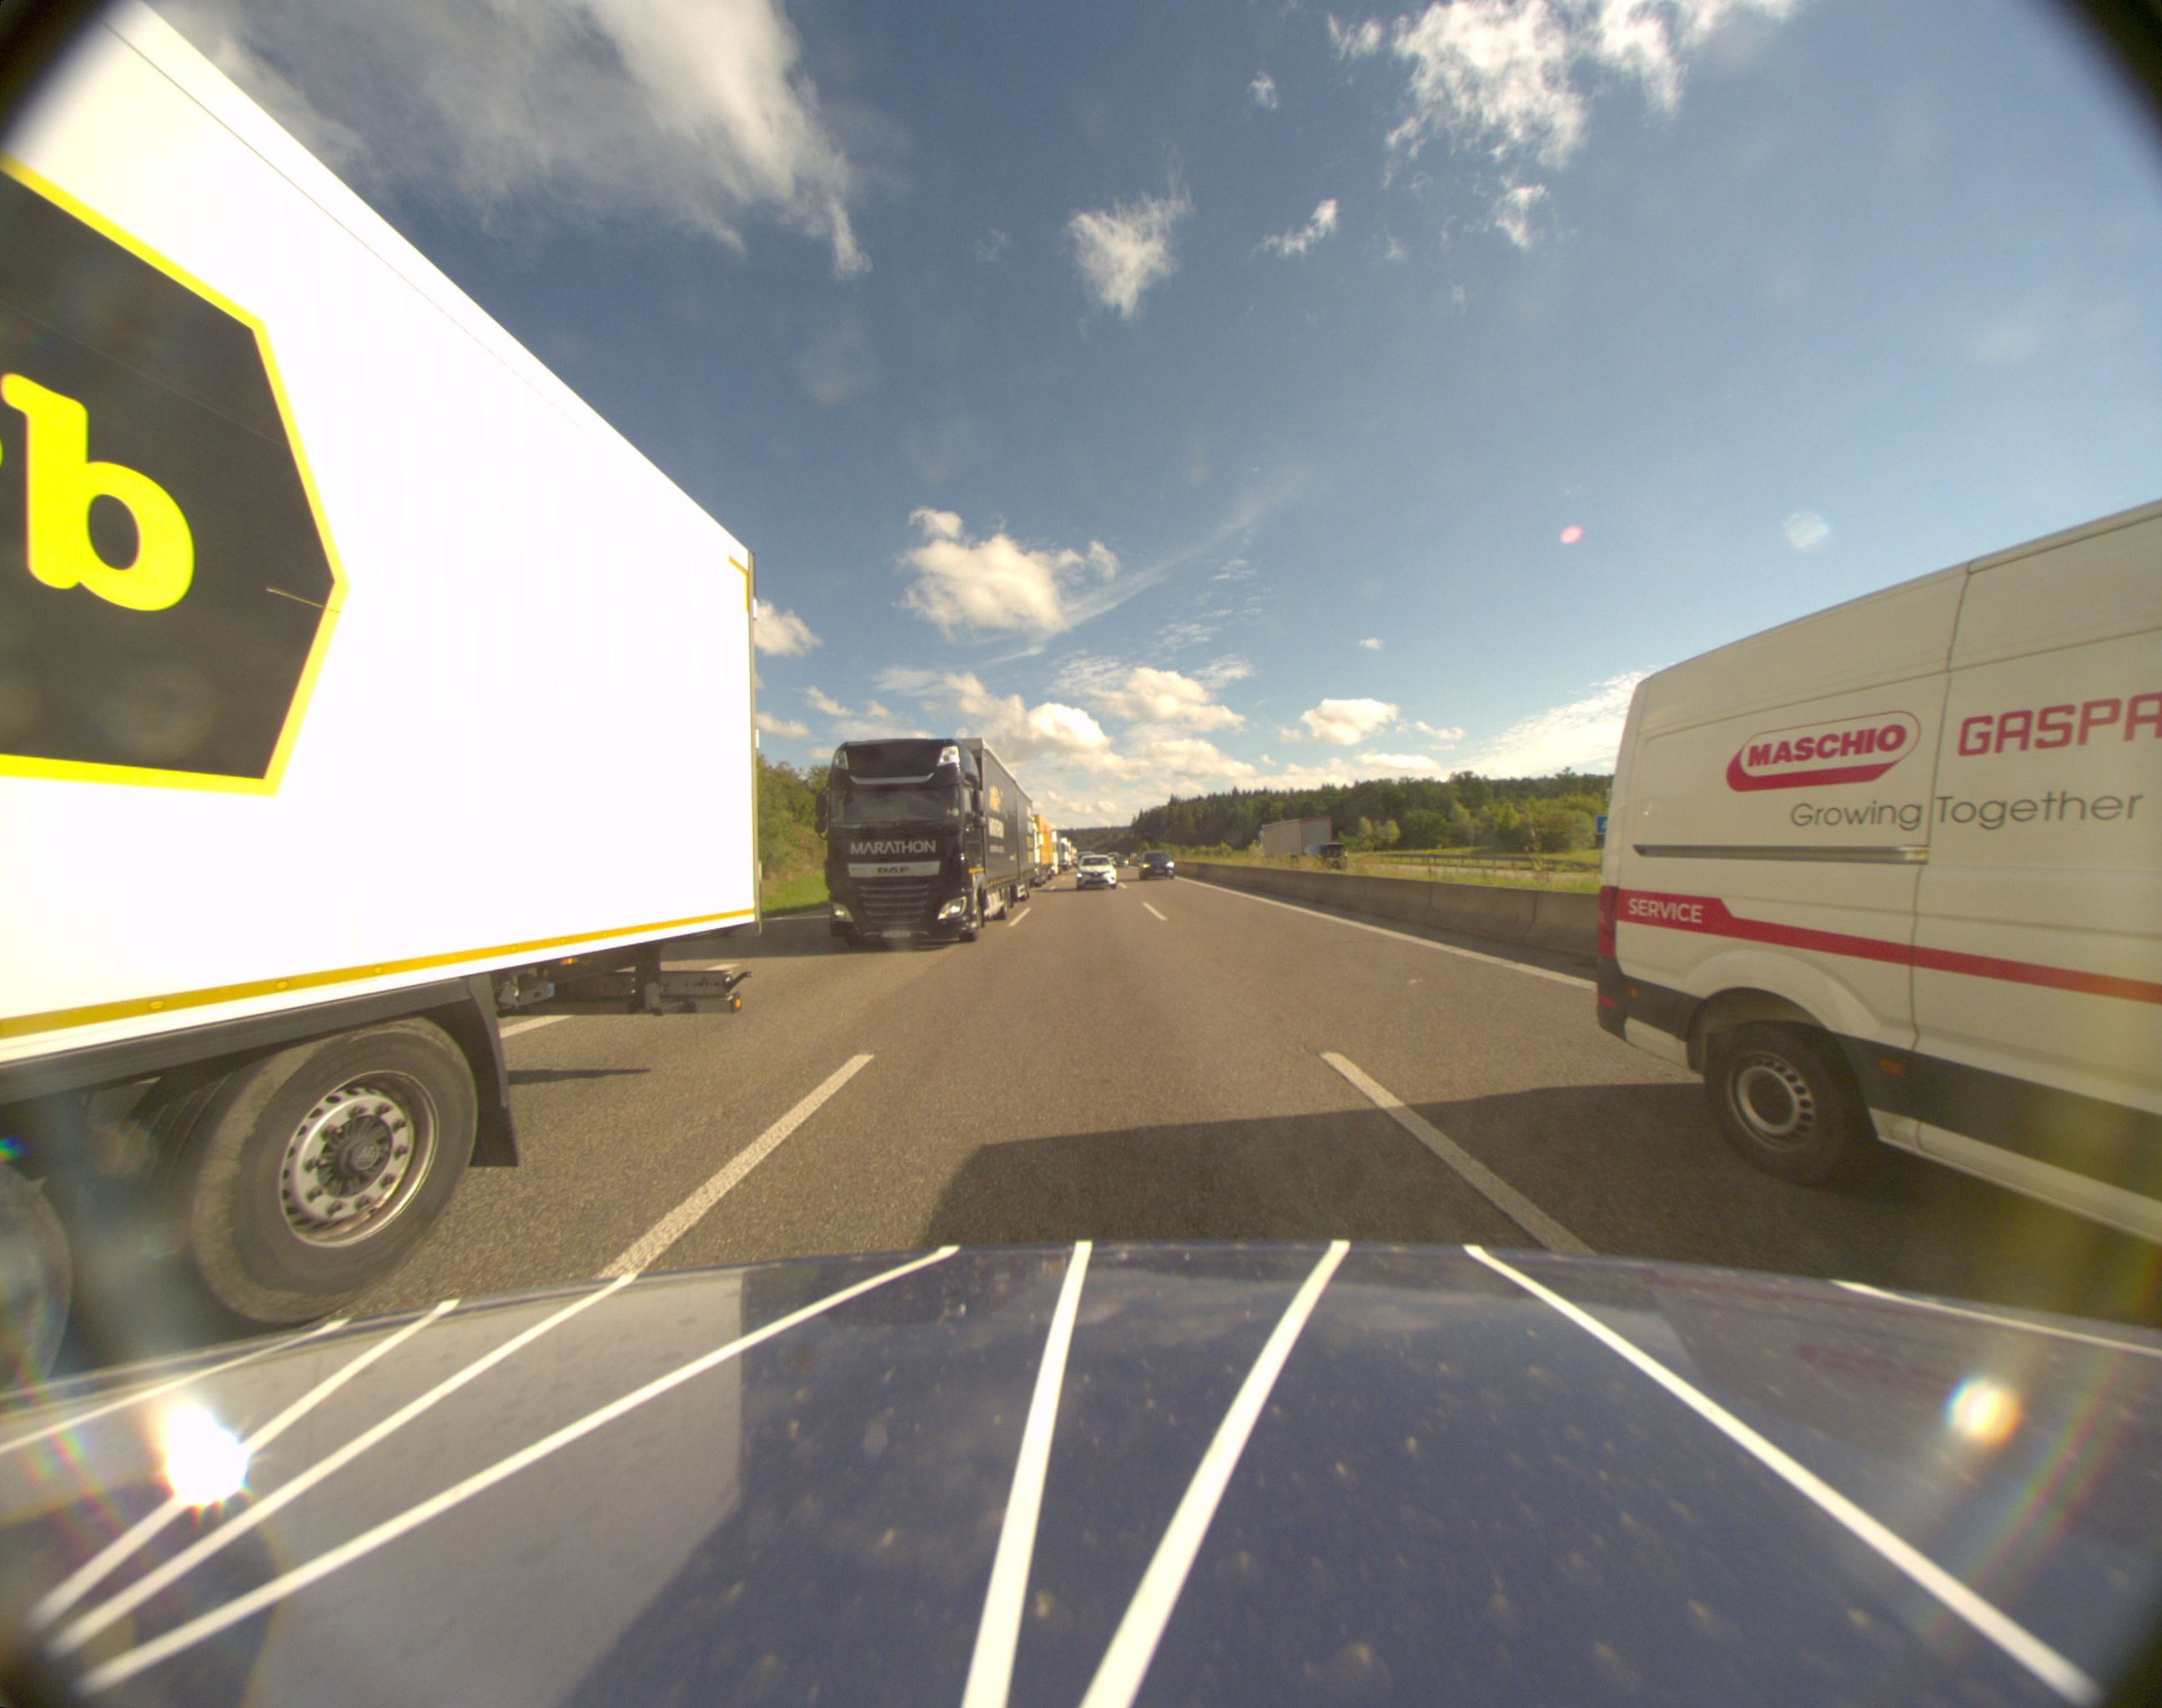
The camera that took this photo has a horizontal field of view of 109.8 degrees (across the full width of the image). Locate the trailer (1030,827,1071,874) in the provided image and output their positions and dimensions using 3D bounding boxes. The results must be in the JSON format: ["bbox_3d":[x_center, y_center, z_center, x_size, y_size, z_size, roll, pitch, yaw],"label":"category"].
[{"bbox_3d":[-2.773,-0.361,74.644,2.648,4.074,13.981,-4,0,2],"label":"trailer"}]

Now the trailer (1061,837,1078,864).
[{"bbox_3d":[-1.761,-0.437,121.038,2.334,3.973,14.300,-3,-1,0],"label":"trailer"}]

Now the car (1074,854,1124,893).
[{"bbox_3d":[0.861,0.818,34.681,2.026,1.510,5.299,-4,0,2],"label":"car"}]

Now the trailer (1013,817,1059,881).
[{"bbox_3d":[-3.099,-0.304,54.148,2.418,4.045,8.926,-4,0,0],"label":"trailer"}]

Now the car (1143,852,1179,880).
[{"bbox_3d":[4.677,0.648,44.728,1.779,1.533,4.158,0,0,1],"label":"car"}]

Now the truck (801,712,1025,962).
[{"bbox_3d":[-3.166,-0.310,17.796,2.748,4.015,10.201,-4,0,0],"label":"truck"}]

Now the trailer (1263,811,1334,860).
[{"bbox_3d":[19.694,-1.589,69.931,2.839,3.969,13.548,-2,0,1],"label":"trailer"}]

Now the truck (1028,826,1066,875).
[{"bbox_3d":[-3.007,-0.289,68.793,2.654,4.066,6.492,-4,1,2],"label":"truck"}]

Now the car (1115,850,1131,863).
[{"bbox_3d":[4.892,0.318,88.662,1.779,1.451,4.158,0,0,1],"label":"car"}]

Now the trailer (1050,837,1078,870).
[{"bbox_3d":[-2.097,-0.060,98.264,2.652,3.911,11.175,-4,0,2],"label":"trailer"}]

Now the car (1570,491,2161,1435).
[{"bbox_3d":[3.967,0.292,1.497,2.020,2.583,6.182,0,0,0],"label":"car"}]

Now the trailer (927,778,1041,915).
[{"bbox_3d":[-3.164,-0.203,27.270,2.723,3.937,8.711,-4,0,0],"label":"trailer"}]

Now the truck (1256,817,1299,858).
[{"bbox_3d":[19.836,-1.639,76.890,2.826,3.953,5.833,-2,1,1],"label":"truck"}]

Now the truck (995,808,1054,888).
[{"bbox_3d":[-3.153,-0.324,44.831,2.418,4.045,9.664,-4,0,0],"label":"truck"}]

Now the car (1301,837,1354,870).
[{"bbox_3d":[15.645,-0.047,48.488,1.883,1.865,4.489,-4,0,1],"label":"car"}]

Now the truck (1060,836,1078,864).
[{"bbox_3d":[-1.724,-0.572,113.594,2.371,3.996,6.106,-3,-1,0],"label":"truck"}]

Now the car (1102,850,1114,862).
[{"bbox_3d":[4.186,0.315,116.910,1.779,1.923,4.214,0,0,1],"label":"car"}]

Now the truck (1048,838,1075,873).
[{"bbox_3d":[-2.292,0.234,91.907,2.655,3.901,6.943,-4,0,2],"label":"truck"}]

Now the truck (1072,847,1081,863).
[{"bbox_3d":[-1.075,0.286,196.177,1.998,3.999,7.344,-4,0,0],"label":"truck"}]
